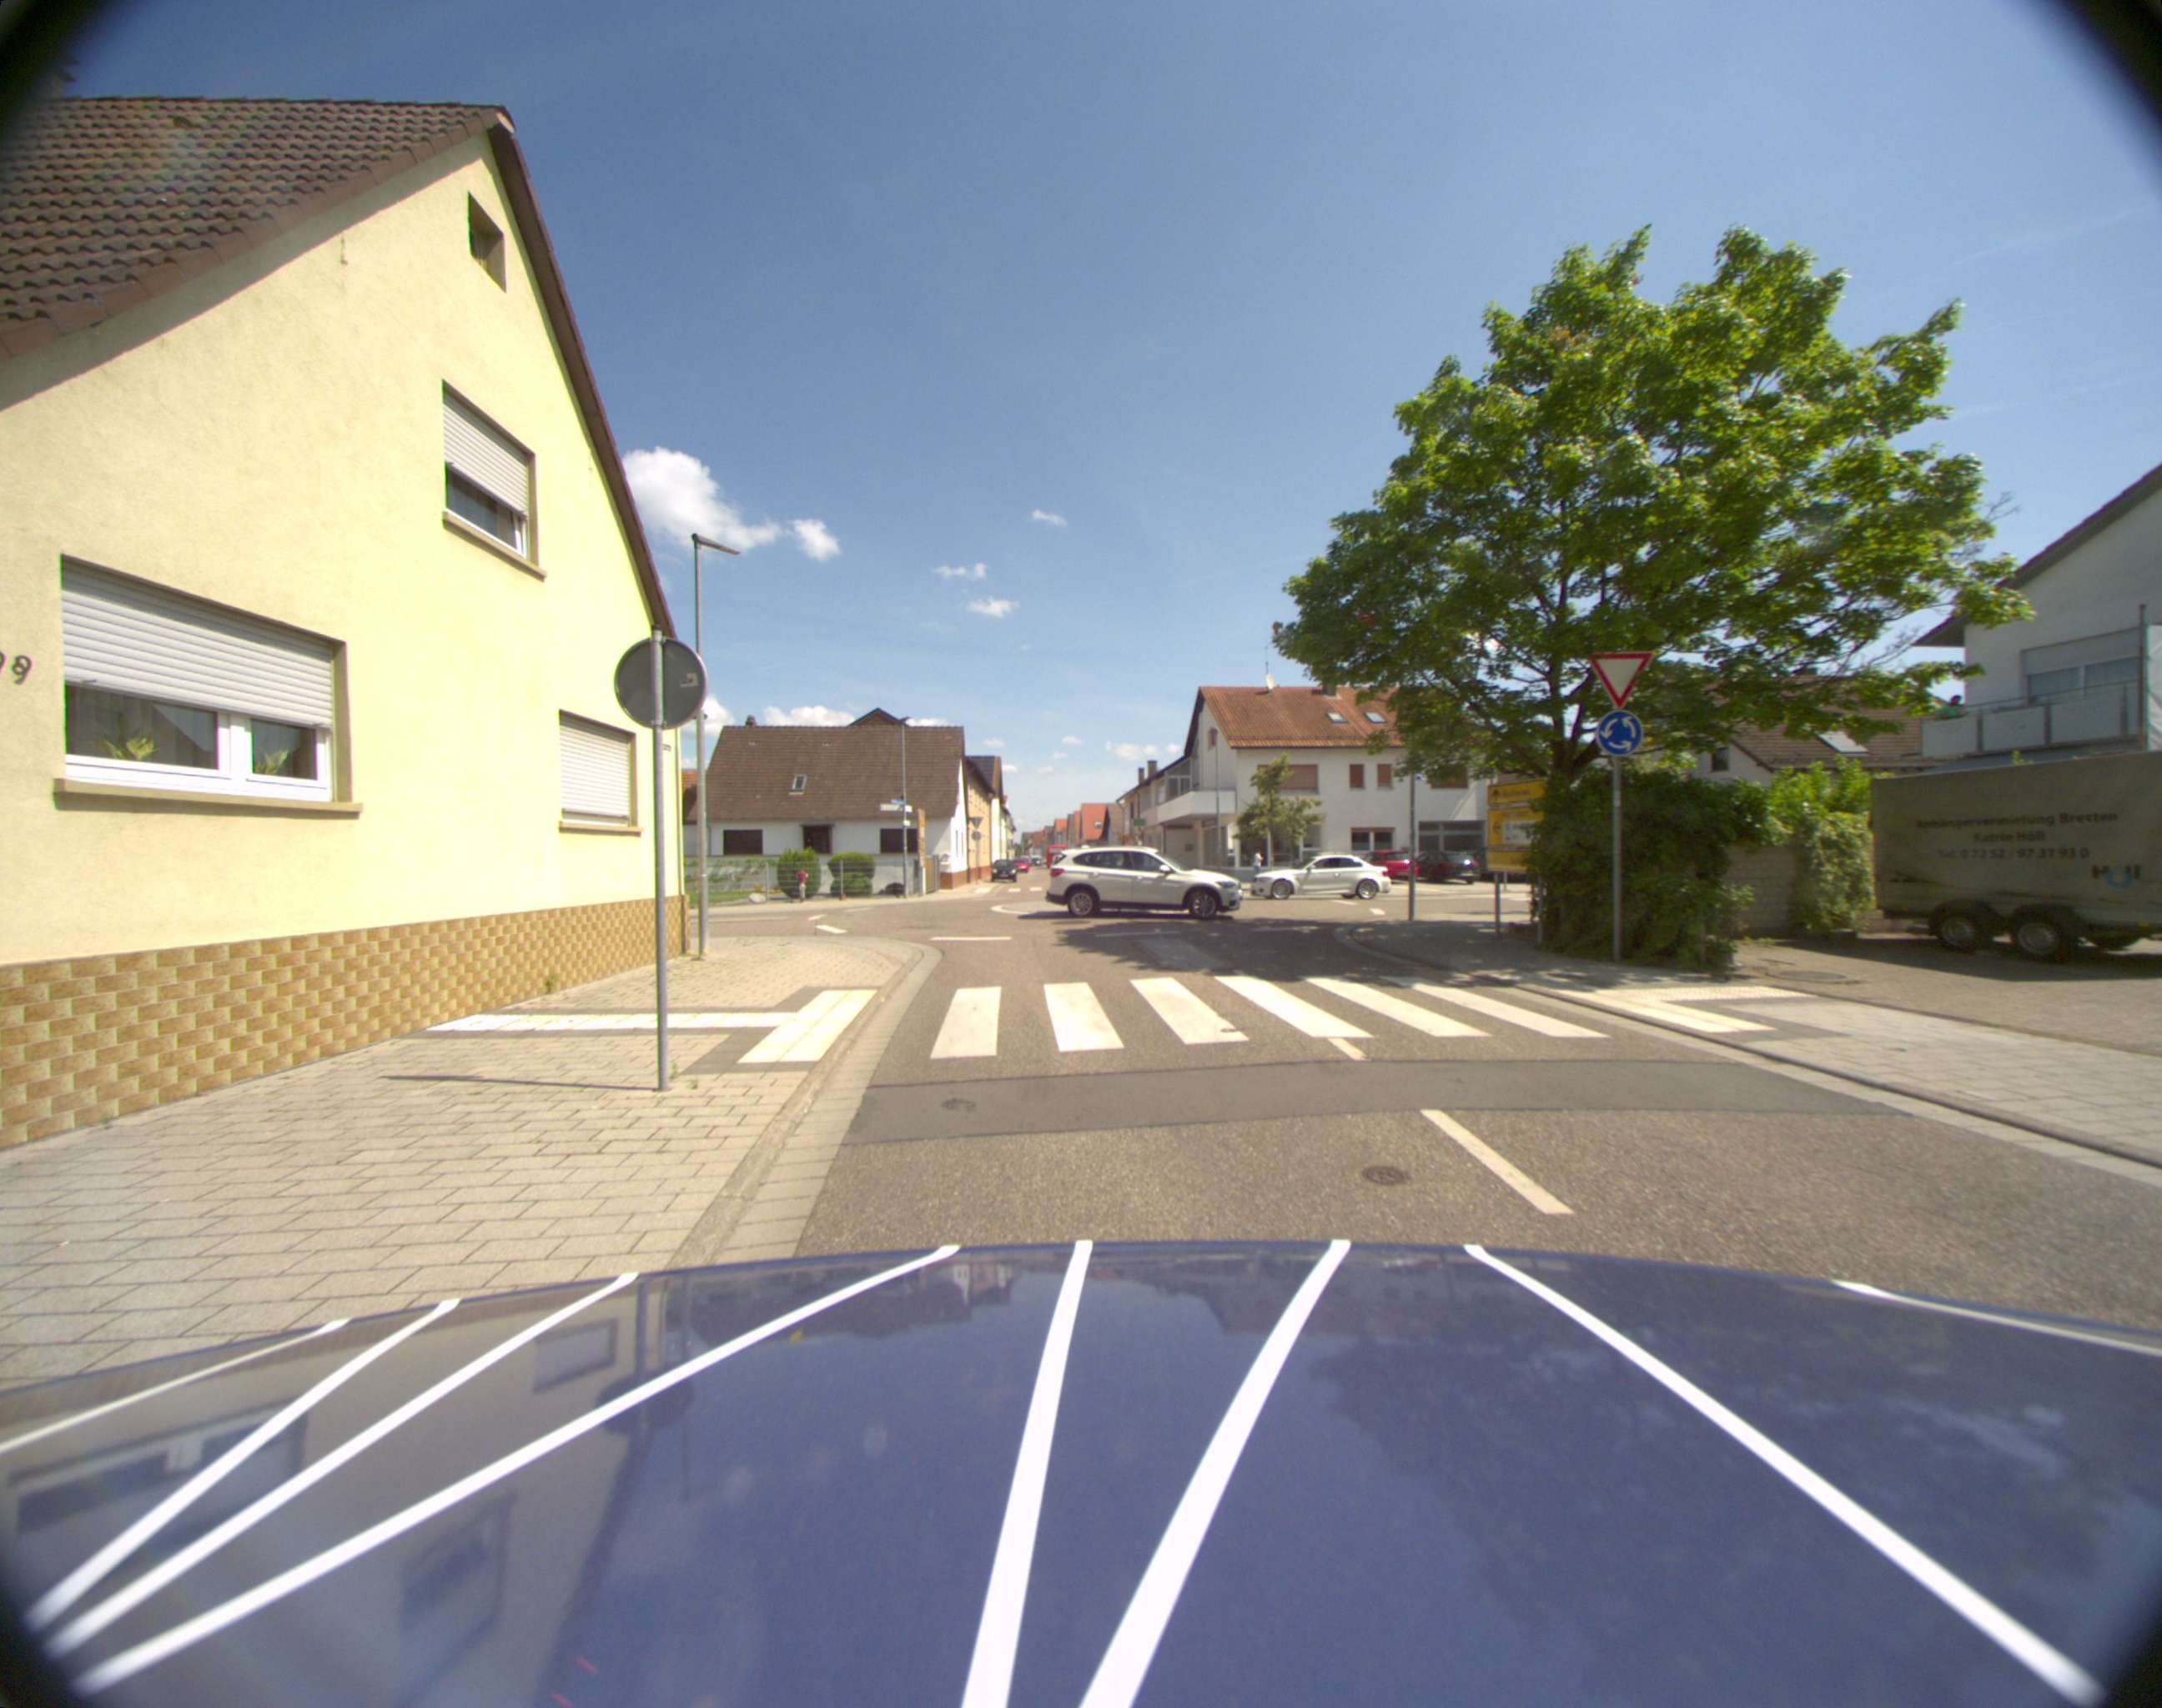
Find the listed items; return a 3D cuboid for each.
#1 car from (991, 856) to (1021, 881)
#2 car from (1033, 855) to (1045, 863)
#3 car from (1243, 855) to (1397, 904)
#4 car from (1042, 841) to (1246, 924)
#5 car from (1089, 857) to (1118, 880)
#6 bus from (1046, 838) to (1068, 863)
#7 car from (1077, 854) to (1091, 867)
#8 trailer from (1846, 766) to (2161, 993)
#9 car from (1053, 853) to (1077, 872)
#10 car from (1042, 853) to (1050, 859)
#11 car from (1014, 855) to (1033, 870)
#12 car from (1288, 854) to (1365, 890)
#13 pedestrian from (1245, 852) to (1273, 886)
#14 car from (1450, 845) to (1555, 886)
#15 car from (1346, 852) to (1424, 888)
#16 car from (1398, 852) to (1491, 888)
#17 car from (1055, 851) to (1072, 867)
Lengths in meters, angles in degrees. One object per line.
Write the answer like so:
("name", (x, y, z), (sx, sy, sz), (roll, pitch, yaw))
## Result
("car", (-4.685, 0.896, 47.800), (1.691, 1.454, 3.628), (1, 0, -4))
("car", (-7.147, 0.877, 129.805), (1.765, 1.420, 4.187), (-1, 0, -6))
("car", (7.620, 0.846, 24.546), (4.332, 1.439, 1.882), (-1, -3, -1))
("car", (1.512, 0.643, 17.511), (4.366, 1.636, 1.848), (-3, 0, 14))
("car", (1.712, 1.094, 59.025), (1.749, 1.507, 3.998), (-5, 1, -5))
("bus", (-3.372, -0.452, 105.658), (2.634, 3.213, 12.018), (1, 0, -4))
("car", (0.337, 0.742, 87.348), (1.458, 1.362, 3.383), (-4, 0, -2))
("trailer", (11.950, 0.221, 8.592), (1.884, 2.322, 4.522), (-2, 0, -3))
("car", (-1.524, 0.756, 70.471), (1.871, 1.700, 4.540), (-1, 0, -5))
("car", (-8.554, 0.420, 185.323), (1.765, 1.420, 3.850), (-1, 0, -6))
("car", (-5.782, 0.856, 76.726), (1.765, 1.420, 4.188), (-1, 0, -4))
("car", (11.143, 0.759, 34.828), (1.835, 1.442, 4.476), (-1, 1, -4))
("pedestrian", (8.597, 0.721, 36.709), (0.759, 1.575, 0.954), (-4, 2, -37))
("car", (19.294, 0.463, 35.069), (1.986, 1.729, 4.747), (-1, 1, -4))
("car", (13.808, 0.691, 34.728), (1.752, 1.468, 3.962), (-1, 1, -4))
("car", (16.275, 0.681, 34.280), (1.835, 1.442, 4.476), (-1, 1, -4))
("car", (-2.068, 0.590, 88.949), (1.777, 1.810, 4.440), (0, 0, -4))
